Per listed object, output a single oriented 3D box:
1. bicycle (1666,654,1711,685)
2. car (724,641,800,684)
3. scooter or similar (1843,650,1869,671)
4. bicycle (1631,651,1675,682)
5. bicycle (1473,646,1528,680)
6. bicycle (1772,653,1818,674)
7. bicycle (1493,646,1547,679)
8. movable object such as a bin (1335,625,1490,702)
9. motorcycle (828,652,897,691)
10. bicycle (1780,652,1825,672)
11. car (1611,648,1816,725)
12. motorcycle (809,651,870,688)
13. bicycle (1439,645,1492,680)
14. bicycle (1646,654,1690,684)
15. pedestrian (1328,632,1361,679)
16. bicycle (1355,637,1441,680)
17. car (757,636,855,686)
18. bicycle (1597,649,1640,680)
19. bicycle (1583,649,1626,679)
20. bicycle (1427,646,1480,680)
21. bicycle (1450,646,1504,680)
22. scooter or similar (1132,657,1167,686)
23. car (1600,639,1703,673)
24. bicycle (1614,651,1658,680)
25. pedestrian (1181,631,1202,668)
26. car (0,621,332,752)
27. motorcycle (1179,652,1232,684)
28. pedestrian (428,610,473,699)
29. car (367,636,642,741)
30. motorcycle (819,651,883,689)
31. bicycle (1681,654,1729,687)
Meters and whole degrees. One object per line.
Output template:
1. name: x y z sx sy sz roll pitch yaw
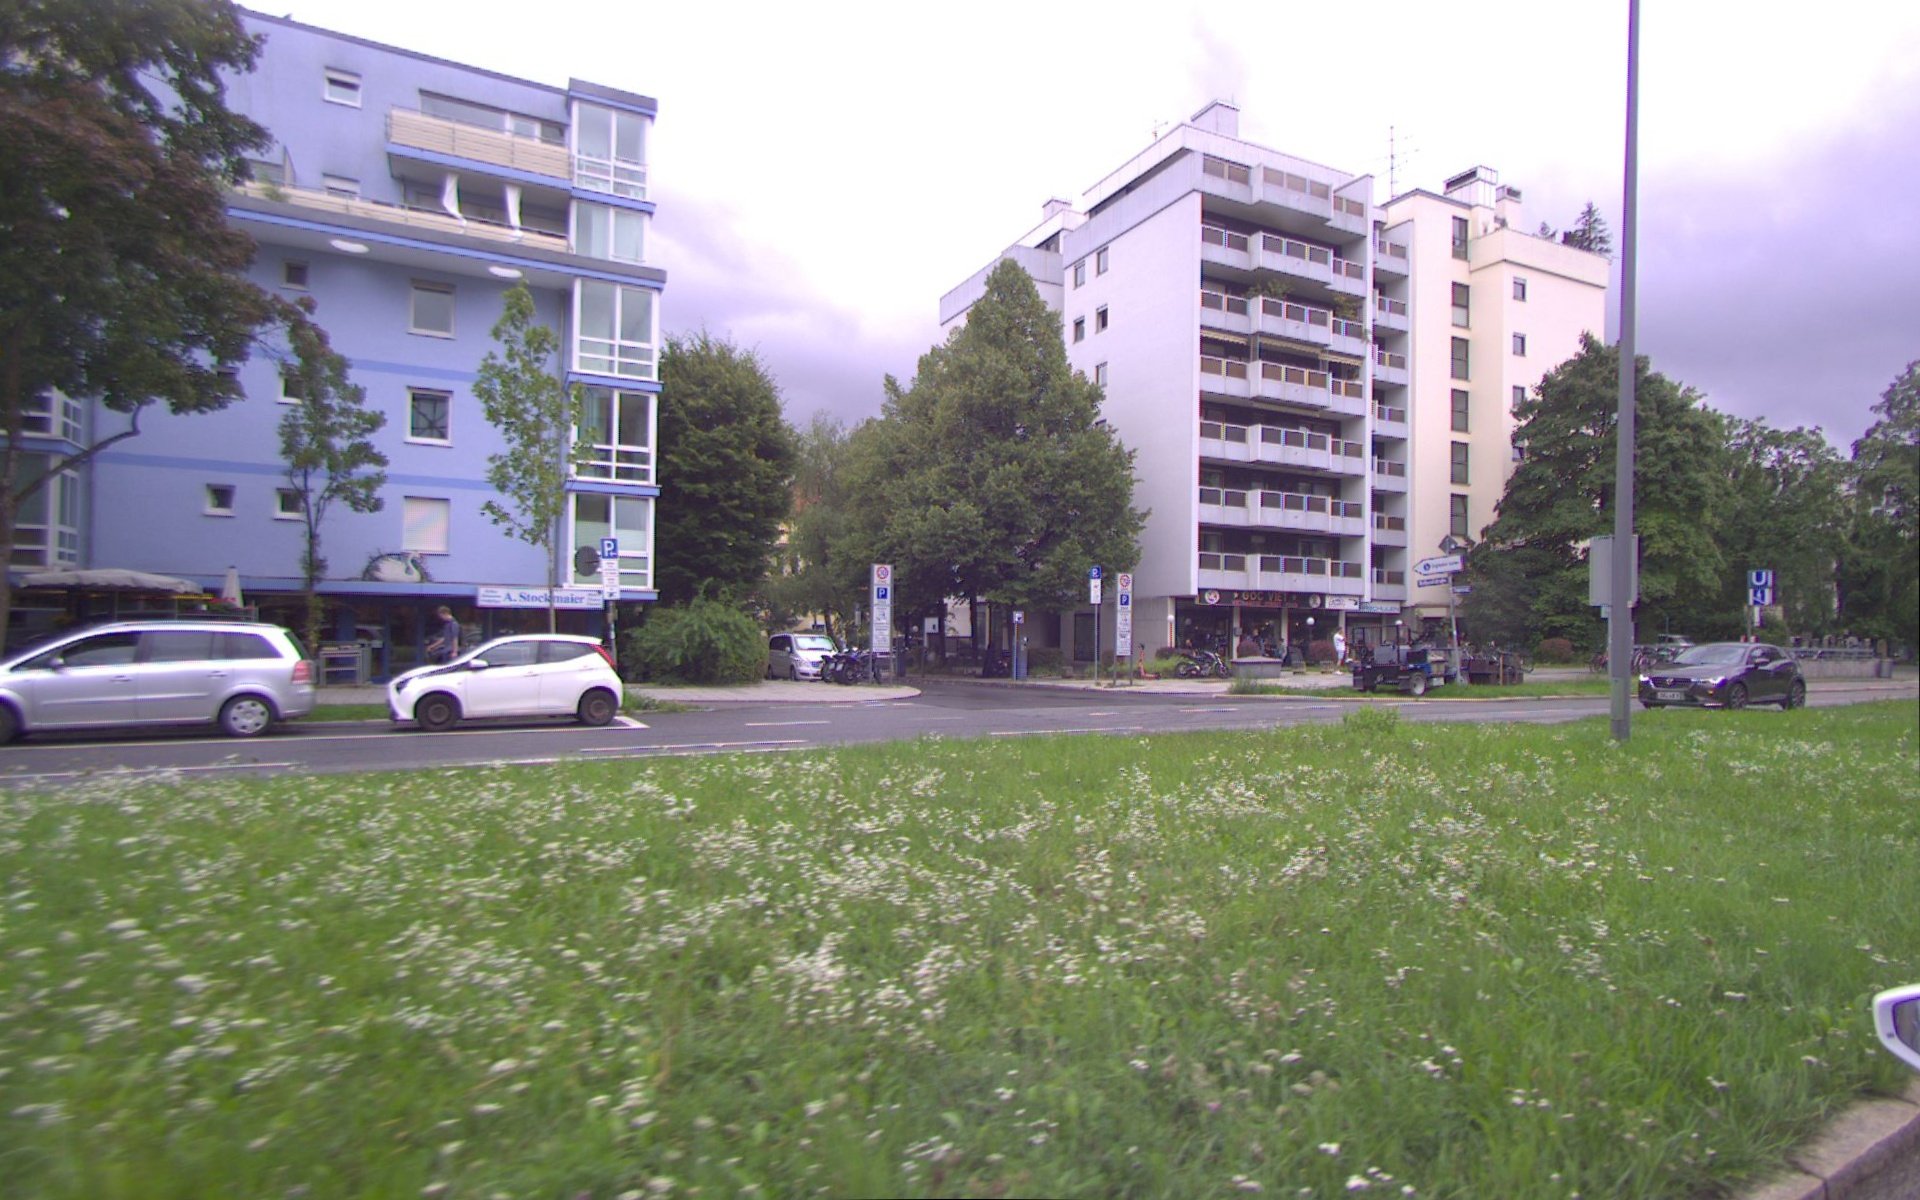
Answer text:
1. bicycle: 26.362 2.508 36.337 1.928 1.092 0.406 2 2 -26
2. car: -8.451 2.611 42.697 1.976 1.704 4.230 2 -2 -29
3. scooter or similar: 48.918 3.312 54.866 1.268 1.141 0.435 1 -2 -15
4. bicycle: 25.820 2.477 37.428 1.928 1.087 0.406 2 2 -26
5. bicycle: 21.350 2.485 39.734 0.552 1.118 1.942 2 2 -24
6. bicycle: 42.515 3.231 51.170 0.431 1.020 1.755 2 -2 -27
7. bicycle: 22.370 2.482 40.181 0.482 1.118 1.942 2 2 -24
8. movable object such as a bin: 12.561 1.725 27.844 3.958 1.978 2.180 2 -2 -34
9. motorcycle: -2.949 2.175 30.675 0.491 1.147 2.467 -1 -3 40
10. bicycle: 43.699 3.204 52.104 0.431 1.020 1.755 2 -2 -27
11. car: 16.353 1.827 21.784 4.205 1.499 1.950 2 -2 -27
12. motorcycle: -3.962 2.276 33.227 0.490 1.147 2.472 -1 -3 33
13. bicycle: 19.546 2.403 38.893 0.482 1.118 1.942 2 2 -24
14. bicycle: 26.020 2.536 36.914 1.928 1.054 0.406 2 2 -26
15. pedestrian: 14.447 2.087 37.747 1.119 1.730 0.664 2 -2 -34
16. bicycle: 16.592 2.199 38.199 0.777 1.300 3.317 2 2 -24
17. car: -5.808 2.202 37.316 1.976 1.704 5.080 2 -2 -29
18. bicycle: 25.177 2.459 38.403 1.928 1.118 0.406 2 2 -26
19. bicycle: 24.939 2.461 38.861 1.928 1.112 0.406 2 2 -26
20. bicycle: 18.973 2.414 38.663 0.482 1.118 1.942 2 2 -24
21. bicycle: 20.159 2.432 39.185 0.482 1.118 1.942 2 2 -24
22. scooter or similar: 6.684 2.515 35.414 1.134 0.971 0.441 -1 -3 41
23. car: 34.927 2.802 50.809 1.726 1.610 3.974 2 -2 -26
24. bicycle: 25.546 2.472 37.943 1.928 1.044 0.406 2 2 -26
25. pedestrian: 10.234 2.175 44.385 0.660 1.606 0.655 2 -2 -29
26. car: -11.502 1.146 13.921 4.620 1.637 1.687 3 -3 -36
27. motorcycle: 8.519 2.353 34.841 1.749 1.101 0.419 1 -2 -2
28. pedestrian: -10.739 1.138 21.179 0.770 1.829 0.639 2 -2 -30
29. car: -7.304 1.368 16.236 3.856 1.509 1.640 2 -3 -30
30. motorcycle: -3.427 2.199 31.782 0.490 1.147 2.471 -1 -3 35
31. bicycle: 26.639 2.511 35.889 2.056 1.104 0.406 2 2 -26
